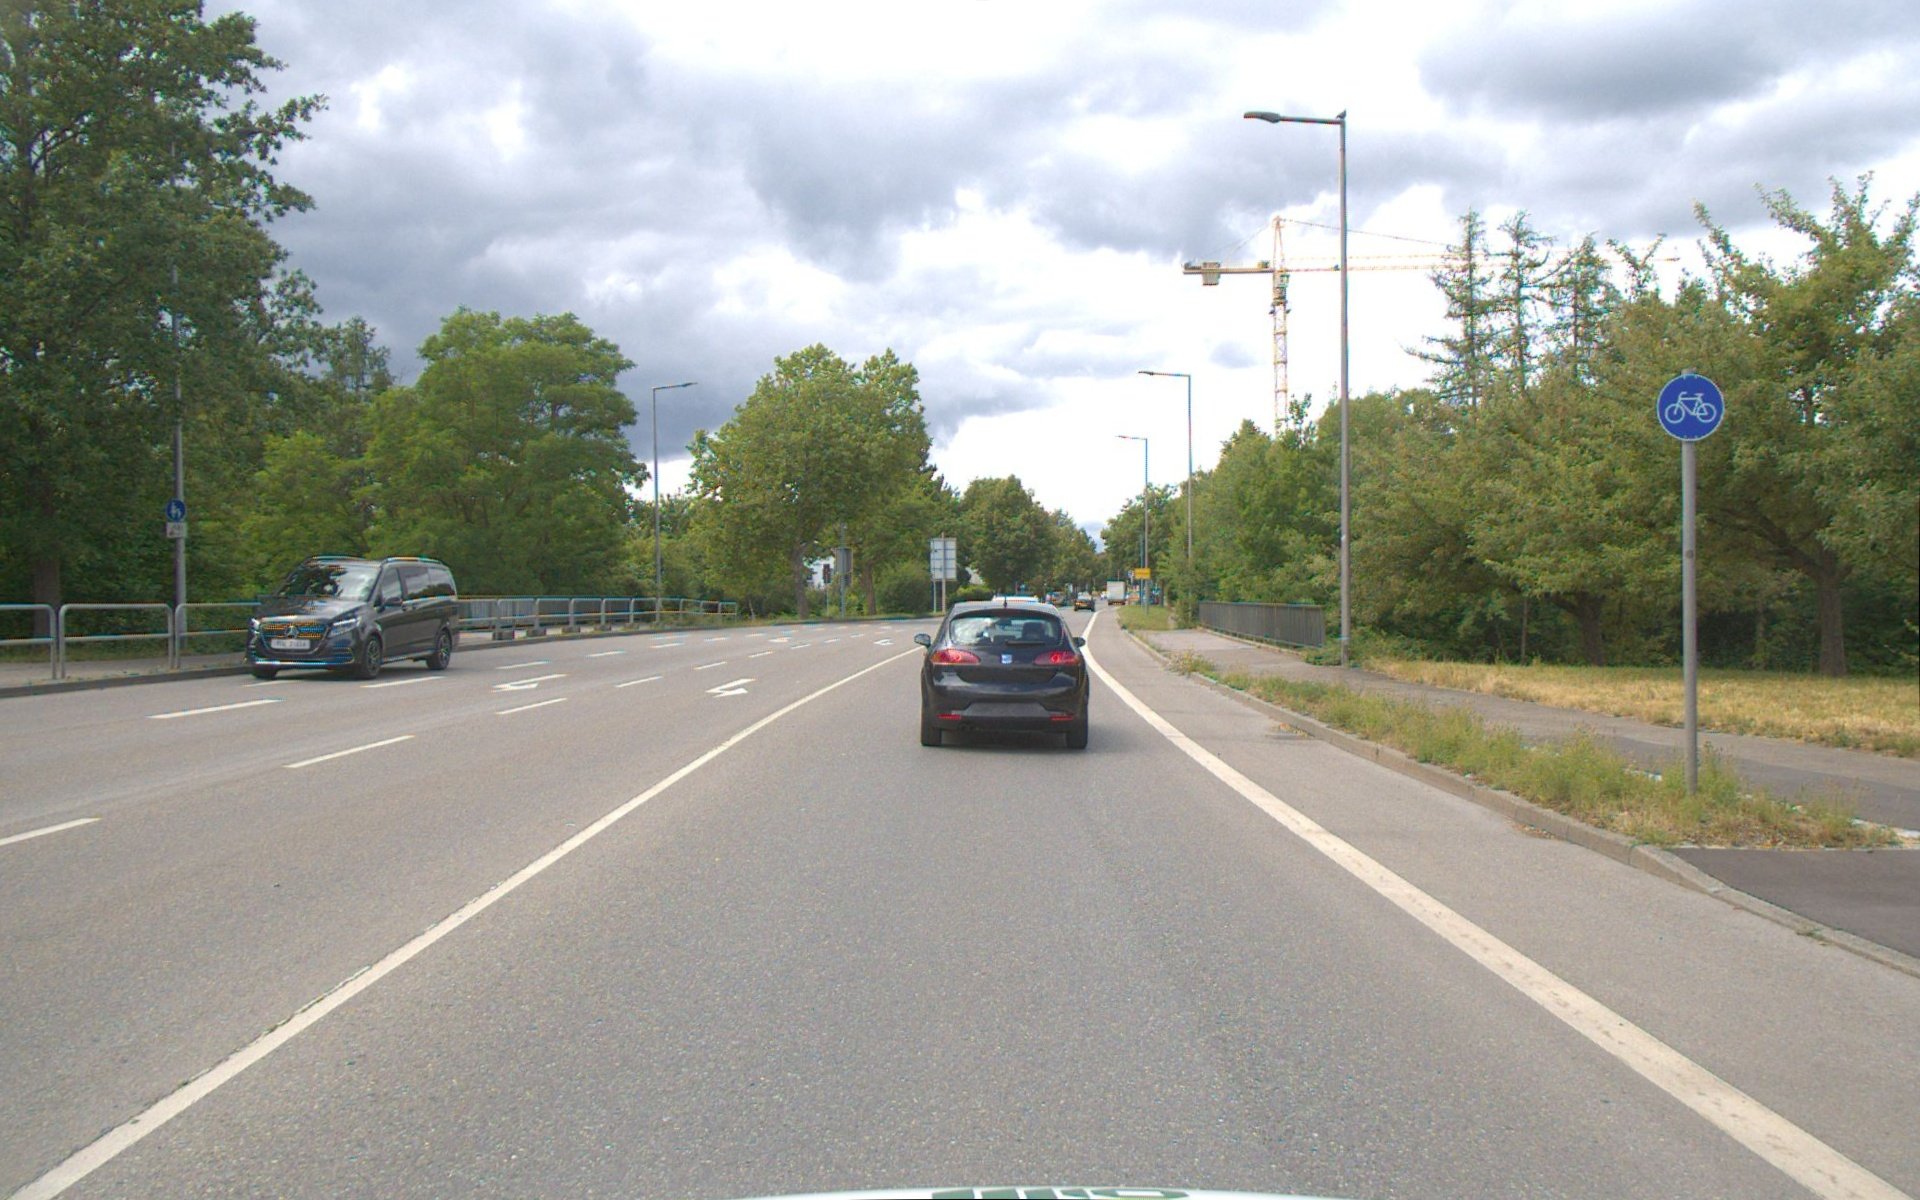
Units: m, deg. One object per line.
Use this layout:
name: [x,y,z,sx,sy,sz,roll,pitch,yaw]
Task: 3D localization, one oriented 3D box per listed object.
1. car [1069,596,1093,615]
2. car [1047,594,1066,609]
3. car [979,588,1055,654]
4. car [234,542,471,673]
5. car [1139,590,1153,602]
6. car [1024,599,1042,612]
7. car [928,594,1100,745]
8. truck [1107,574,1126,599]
car: [10.848,0.472,148.219,1.841,1.718,4.217,-1,0,7]
car: [12.653,0.159,216.677,2.055,1.929,5.788,-2,0,7]
car: [1.435,0.503,41.583,1.808,1.536,3.813,1,0,2]
car: [-9.986,0.101,27.712,1.977,1.981,5.365,0,0,0]
car: [23.611,-0.552,209.615,1.652,1.516,3.357,-1,0,7]
car: [8.315,0.600,187.904,1.681,1.419,4.805,-2,0,7]
car: [0.587,0.664,17.803,1.628,1.426,3.813,1,0,2]
truck: [20.784,-1.792,219.229,2.230,3.158,8.517,1,0,7]
